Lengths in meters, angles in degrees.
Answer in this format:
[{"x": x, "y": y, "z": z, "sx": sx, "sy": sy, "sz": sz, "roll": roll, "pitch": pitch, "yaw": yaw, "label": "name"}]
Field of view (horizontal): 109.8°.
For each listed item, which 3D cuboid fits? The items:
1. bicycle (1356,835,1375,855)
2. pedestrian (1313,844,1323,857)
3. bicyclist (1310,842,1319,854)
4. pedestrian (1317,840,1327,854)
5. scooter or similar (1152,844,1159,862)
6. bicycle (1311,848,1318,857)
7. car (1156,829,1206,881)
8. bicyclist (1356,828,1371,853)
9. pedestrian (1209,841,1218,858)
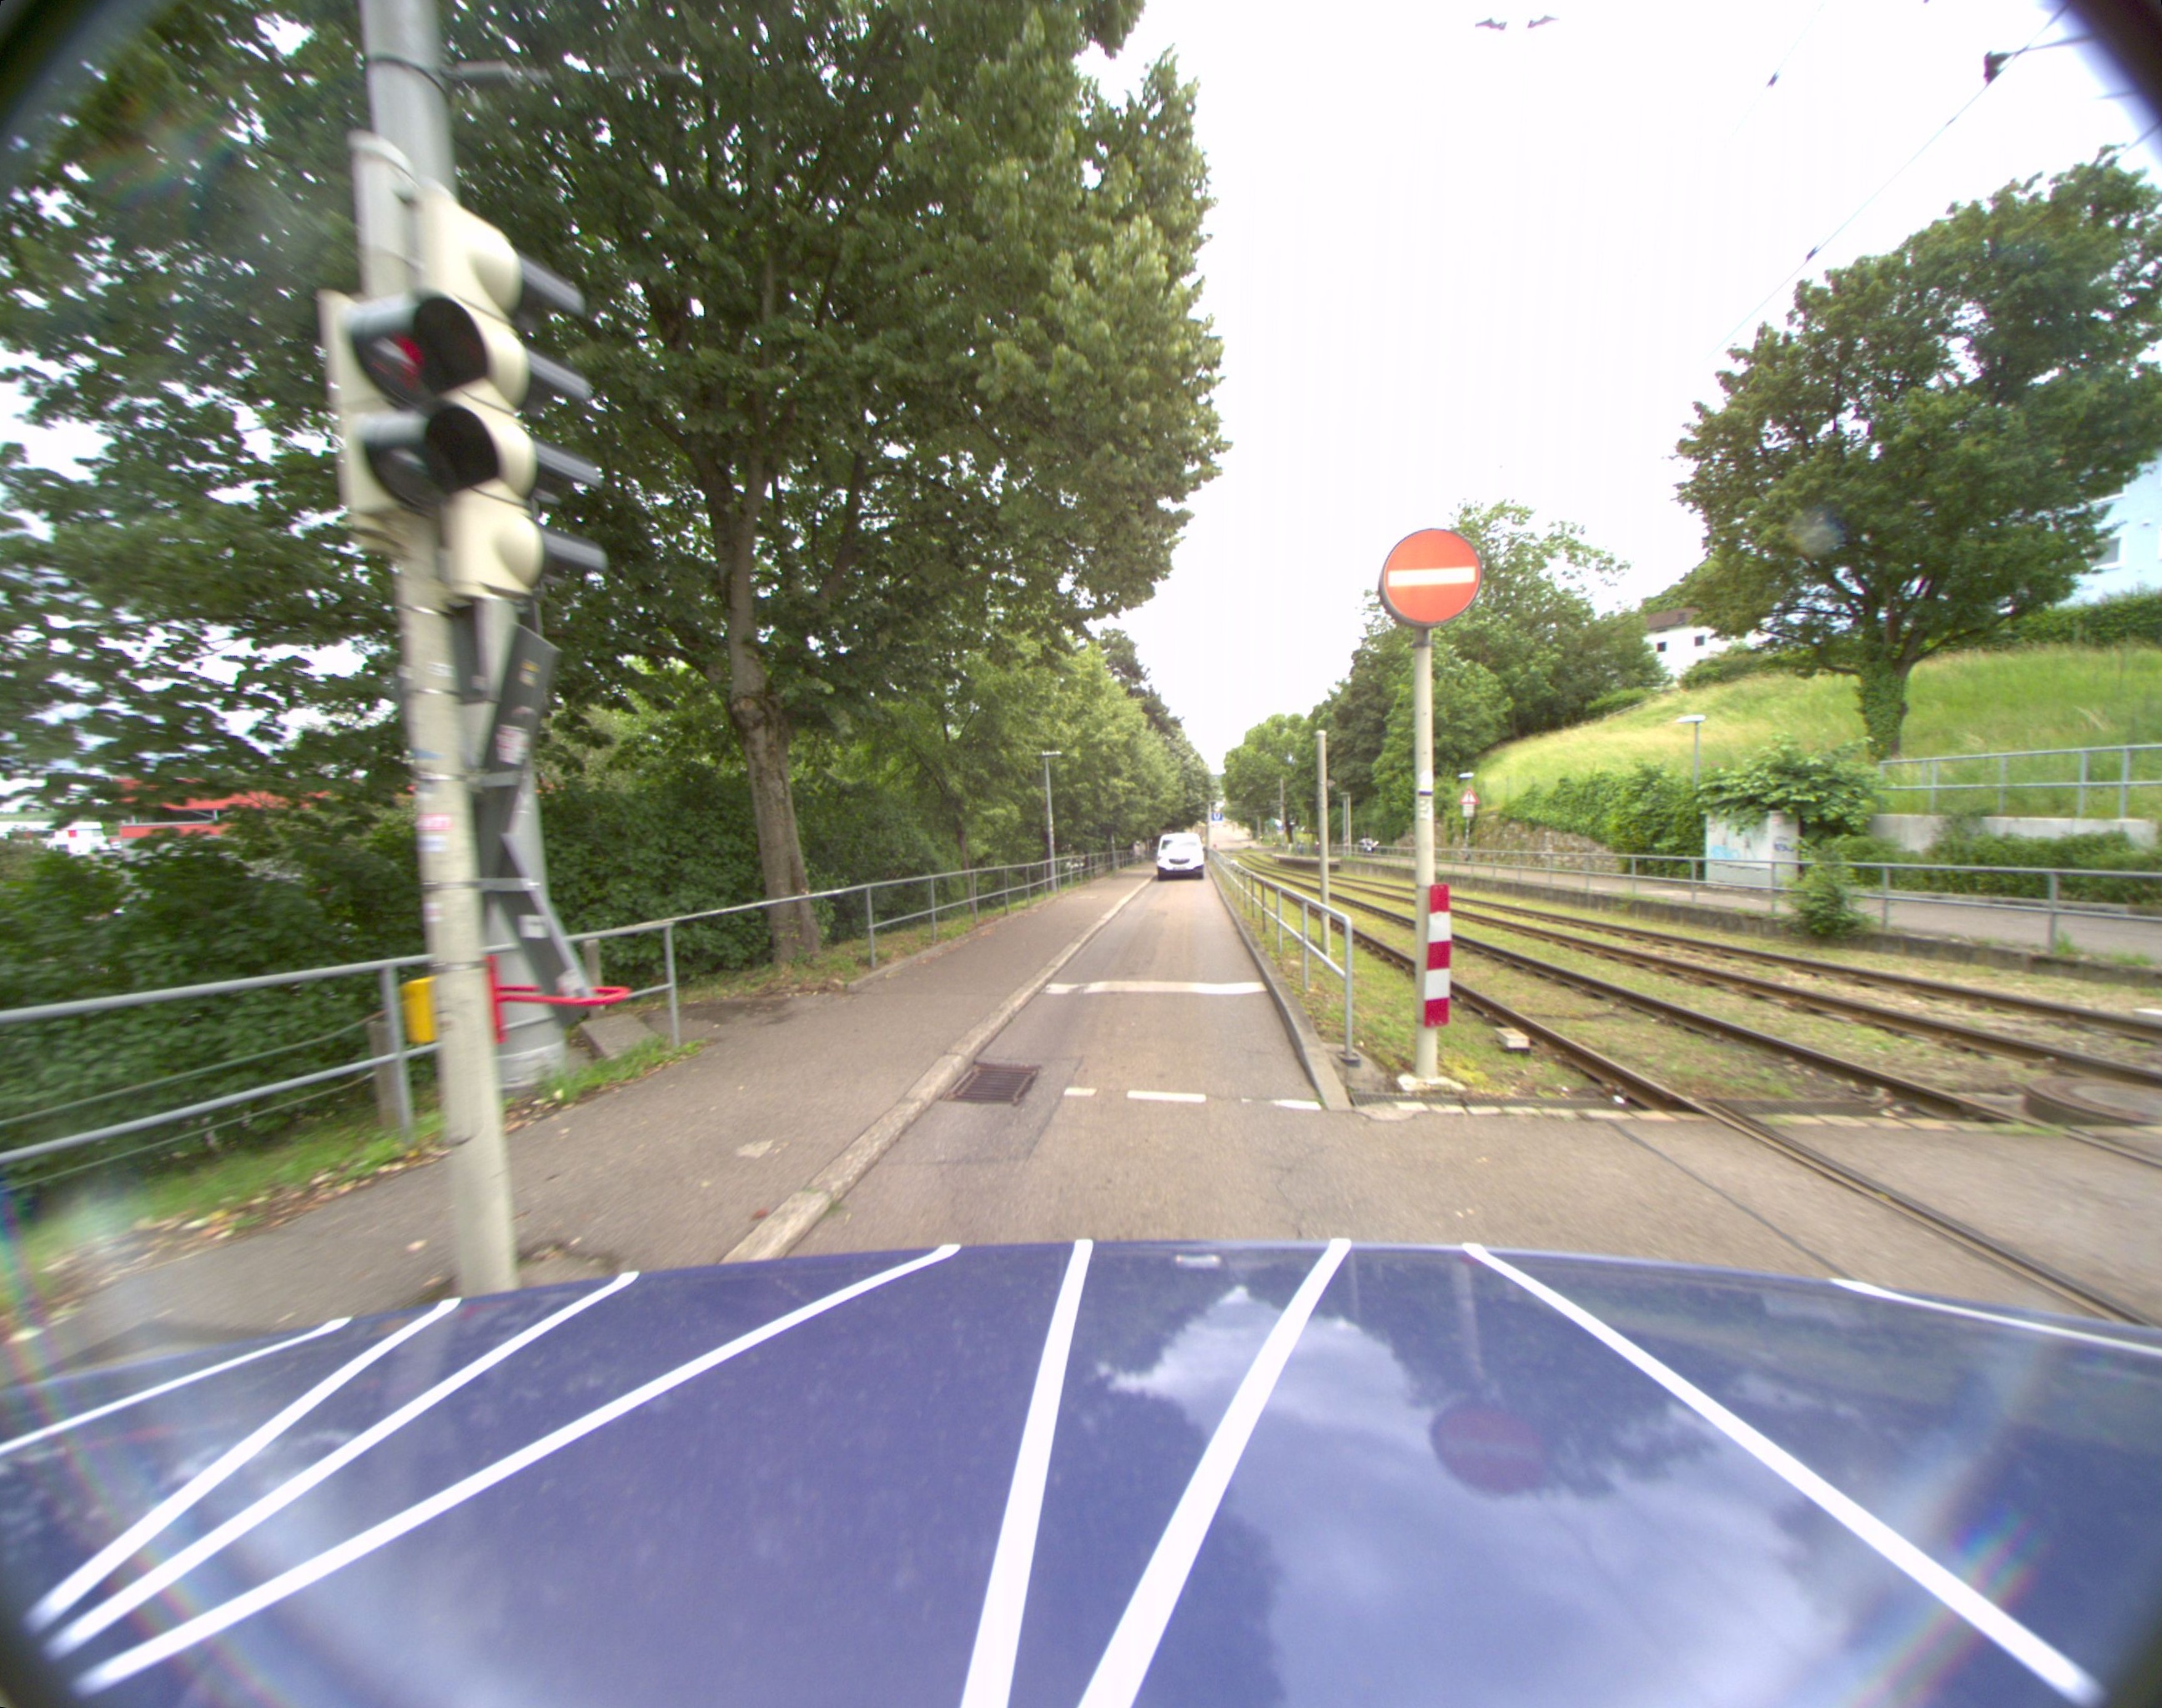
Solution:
[{"x": 18.512, "y": -0.601, "z": 49.467, "sx": 0.751, "sy": 1.232, "sz": 2.869, "roll": -3, "pitch": 0, "yaw": 13, "label": "bicycle"}, {"x": 24.573, "y": -0.362, "z": 78.688, "sx": 0.822, "sy": 1.315, "sz": 0.774, "roll": -2, "pitch": 2, "yaw": 3, "label": "pedestrian"}, {"x": 21.219, "y": -0.579, "z": 69.130, "sx": 0.690, "sy": 1.047, "sz": 0.745, "roll": -2, "pitch": 0, "yaw": 9, "label": "bicyclist"}, {"x": 24.595, "y": -0.737, "z": 77.527, "sx": 0.822, "sy": 1.367, "sz": 0.774, "roll": -2, "pitch": 2, "yaw": 3, "label": "pedestrian"}, {"x": 6.014, "y": -0.093, "z": 61.204, "sx": 0.430, "sy": 1.377, "sz": 1.456, "roll": -2, "pitch": 2, "yaw": 9, "label": "scooter or similar"}, {"x": 21.205, "y": -0.163, "z": 69.029, "sx": 0.450, "sy": 0.776, "sz": 1.566, "roll": -2, "pitch": 0, "yaw": 9, "label": "bicycle"}, {"x": 4.089, "y": -0.021, "z": 30.716, "sx": 1.809, "sy": 1.910, "sz": 4.480, "roll": -2, "pitch": 1, "yaw": 9, "label": "car"}, {"x": 18.653, "y": -0.873, "z": 50.126, "sx": 0.705, "sy": 1.619, "sz": 1.033, "roll": -3, "pitch": 0, "yaw": 12, "label": "bicyclist"}, {"x": 11.540, "y": -0.395, "z": 66.195, "sx": 0.738, "sy": 1.493, "sz": 0.627, "roll": -2, "pitch": 0, "yaw": 10, "label": "pedestrian"}]
